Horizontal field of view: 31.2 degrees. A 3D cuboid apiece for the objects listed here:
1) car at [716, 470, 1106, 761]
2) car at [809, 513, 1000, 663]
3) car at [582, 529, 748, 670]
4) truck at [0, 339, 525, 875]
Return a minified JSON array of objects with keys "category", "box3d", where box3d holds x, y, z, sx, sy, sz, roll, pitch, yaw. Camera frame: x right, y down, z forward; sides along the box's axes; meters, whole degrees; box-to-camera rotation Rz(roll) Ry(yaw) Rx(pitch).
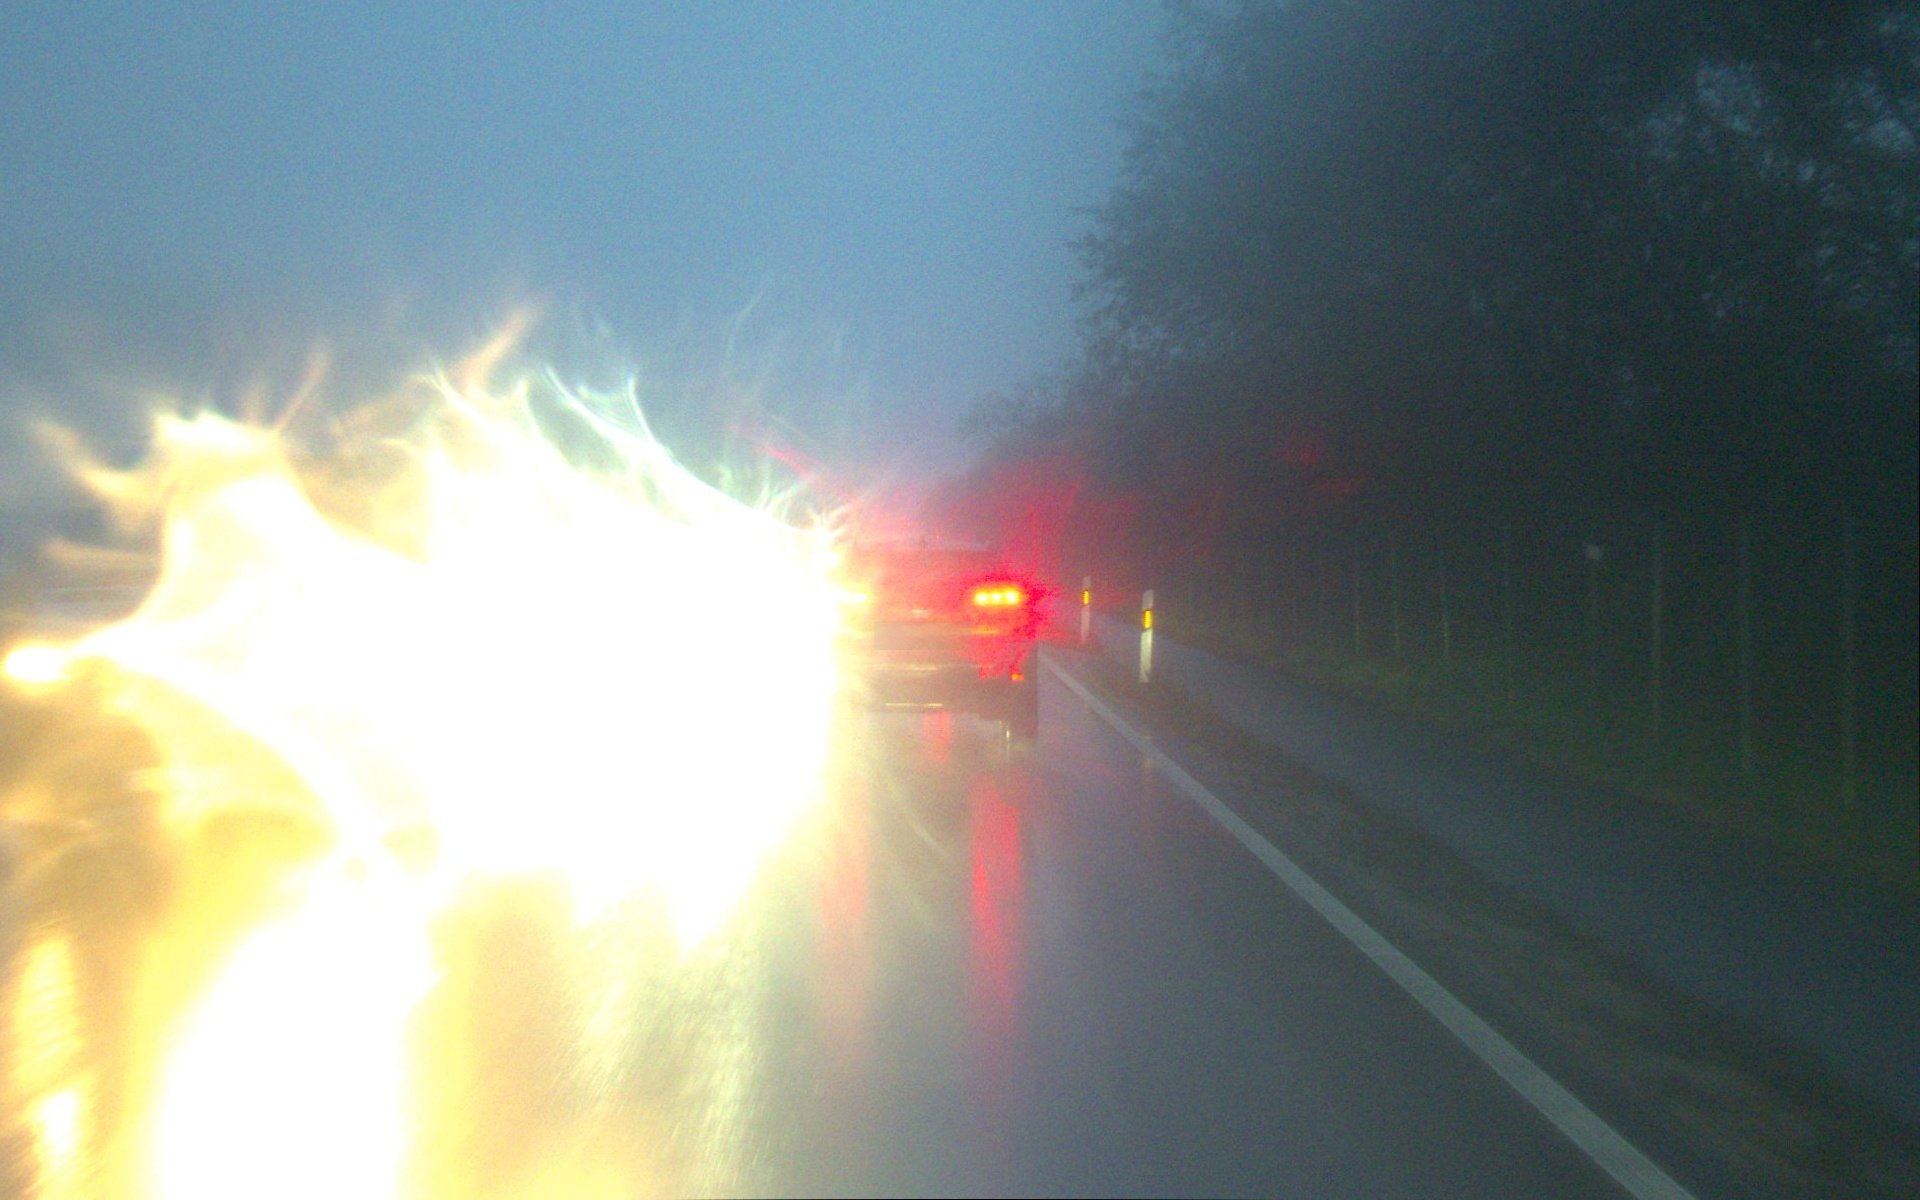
[{"category":"car","box3d":[-0.355,0.077,28.105,2.820,2.070,5.804,1,1,0]},{"category":"car","box3d":[-0.757,-0.199,50.310,2.592,2.007,5.804,1,1,0]},{"category":"car","box3d":[-4.092,-0.038,48.224,1.993,1.816,4.000,-2,1,-1]},{"category":"truck","box3d":[-4.218,-0.019,20.942,2.269,2.625,7.035,-3,1,-1]}]
